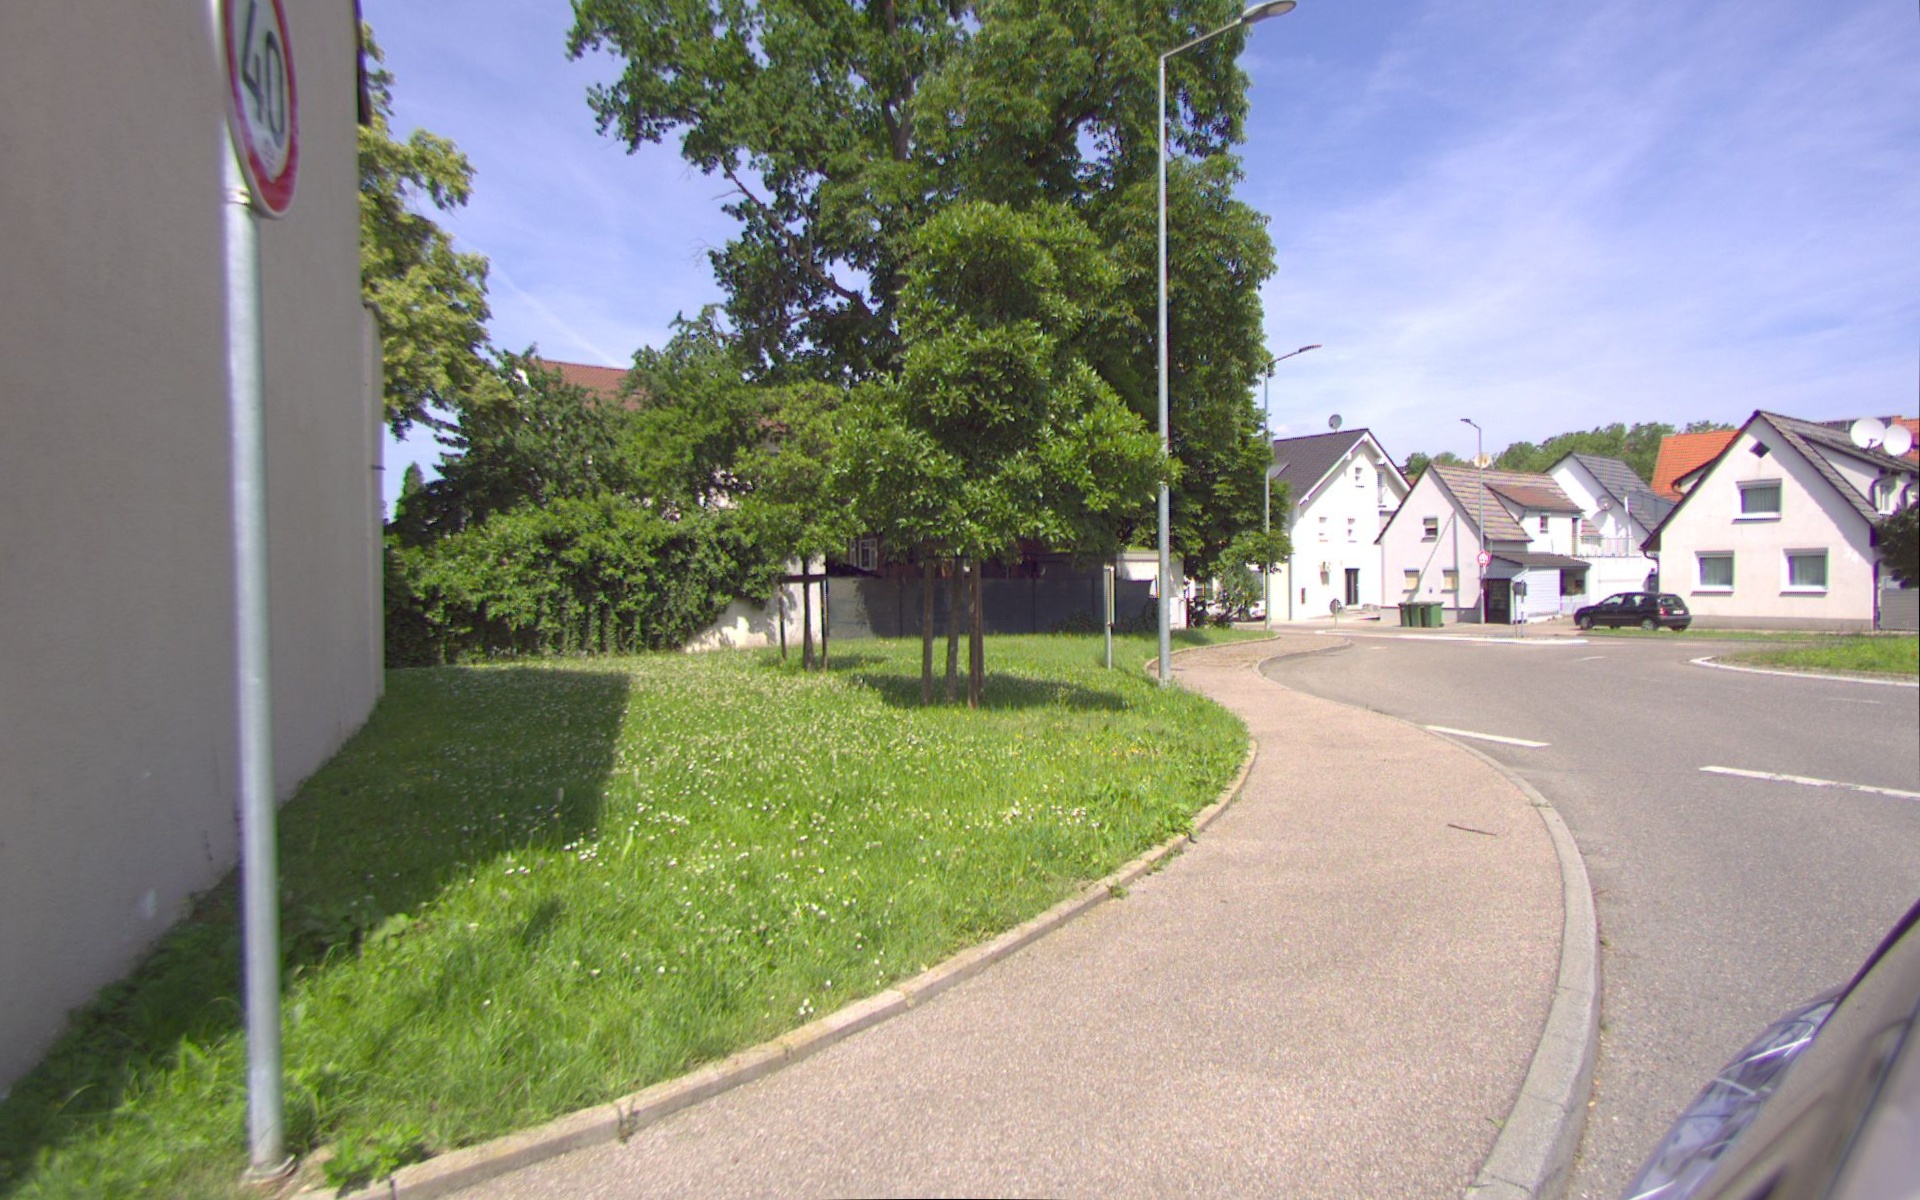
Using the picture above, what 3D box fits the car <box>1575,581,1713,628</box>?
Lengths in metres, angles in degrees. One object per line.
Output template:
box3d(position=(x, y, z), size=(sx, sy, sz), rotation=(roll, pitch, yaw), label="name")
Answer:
box3d(position=(24.515, 0.130, 36.443), size=(1.742, 1.458, 3.856), rotation=(-4, 3, -17), label="car")

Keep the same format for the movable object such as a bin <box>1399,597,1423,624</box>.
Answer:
box3d(position=(19.208, 0.455, 43.091), size=(0.630, 1.106, 0.633), rotation=(-3, 1, -25), label="movable object such as a bin")

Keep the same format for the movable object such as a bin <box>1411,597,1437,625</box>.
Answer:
box3d(position=(19.473, 0.452, 42.472), size=(0.718, 1.090, 0.634), rotation=(-3, 1, -25), label="movable object such as a bin")

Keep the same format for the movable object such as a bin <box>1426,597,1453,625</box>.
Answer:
box3d(position=(19.798, 0.441, 41.789), size=(0.669, 1.090, 0.726), rotation=(-3, 1, -25), label="movable object such as a bin")

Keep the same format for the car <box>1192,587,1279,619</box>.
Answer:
box3d(position=(14.204, 0.157, 52.344), size=(1.795, 1.521, 3.994), rotation=(-4, 2, -40), label="car")
